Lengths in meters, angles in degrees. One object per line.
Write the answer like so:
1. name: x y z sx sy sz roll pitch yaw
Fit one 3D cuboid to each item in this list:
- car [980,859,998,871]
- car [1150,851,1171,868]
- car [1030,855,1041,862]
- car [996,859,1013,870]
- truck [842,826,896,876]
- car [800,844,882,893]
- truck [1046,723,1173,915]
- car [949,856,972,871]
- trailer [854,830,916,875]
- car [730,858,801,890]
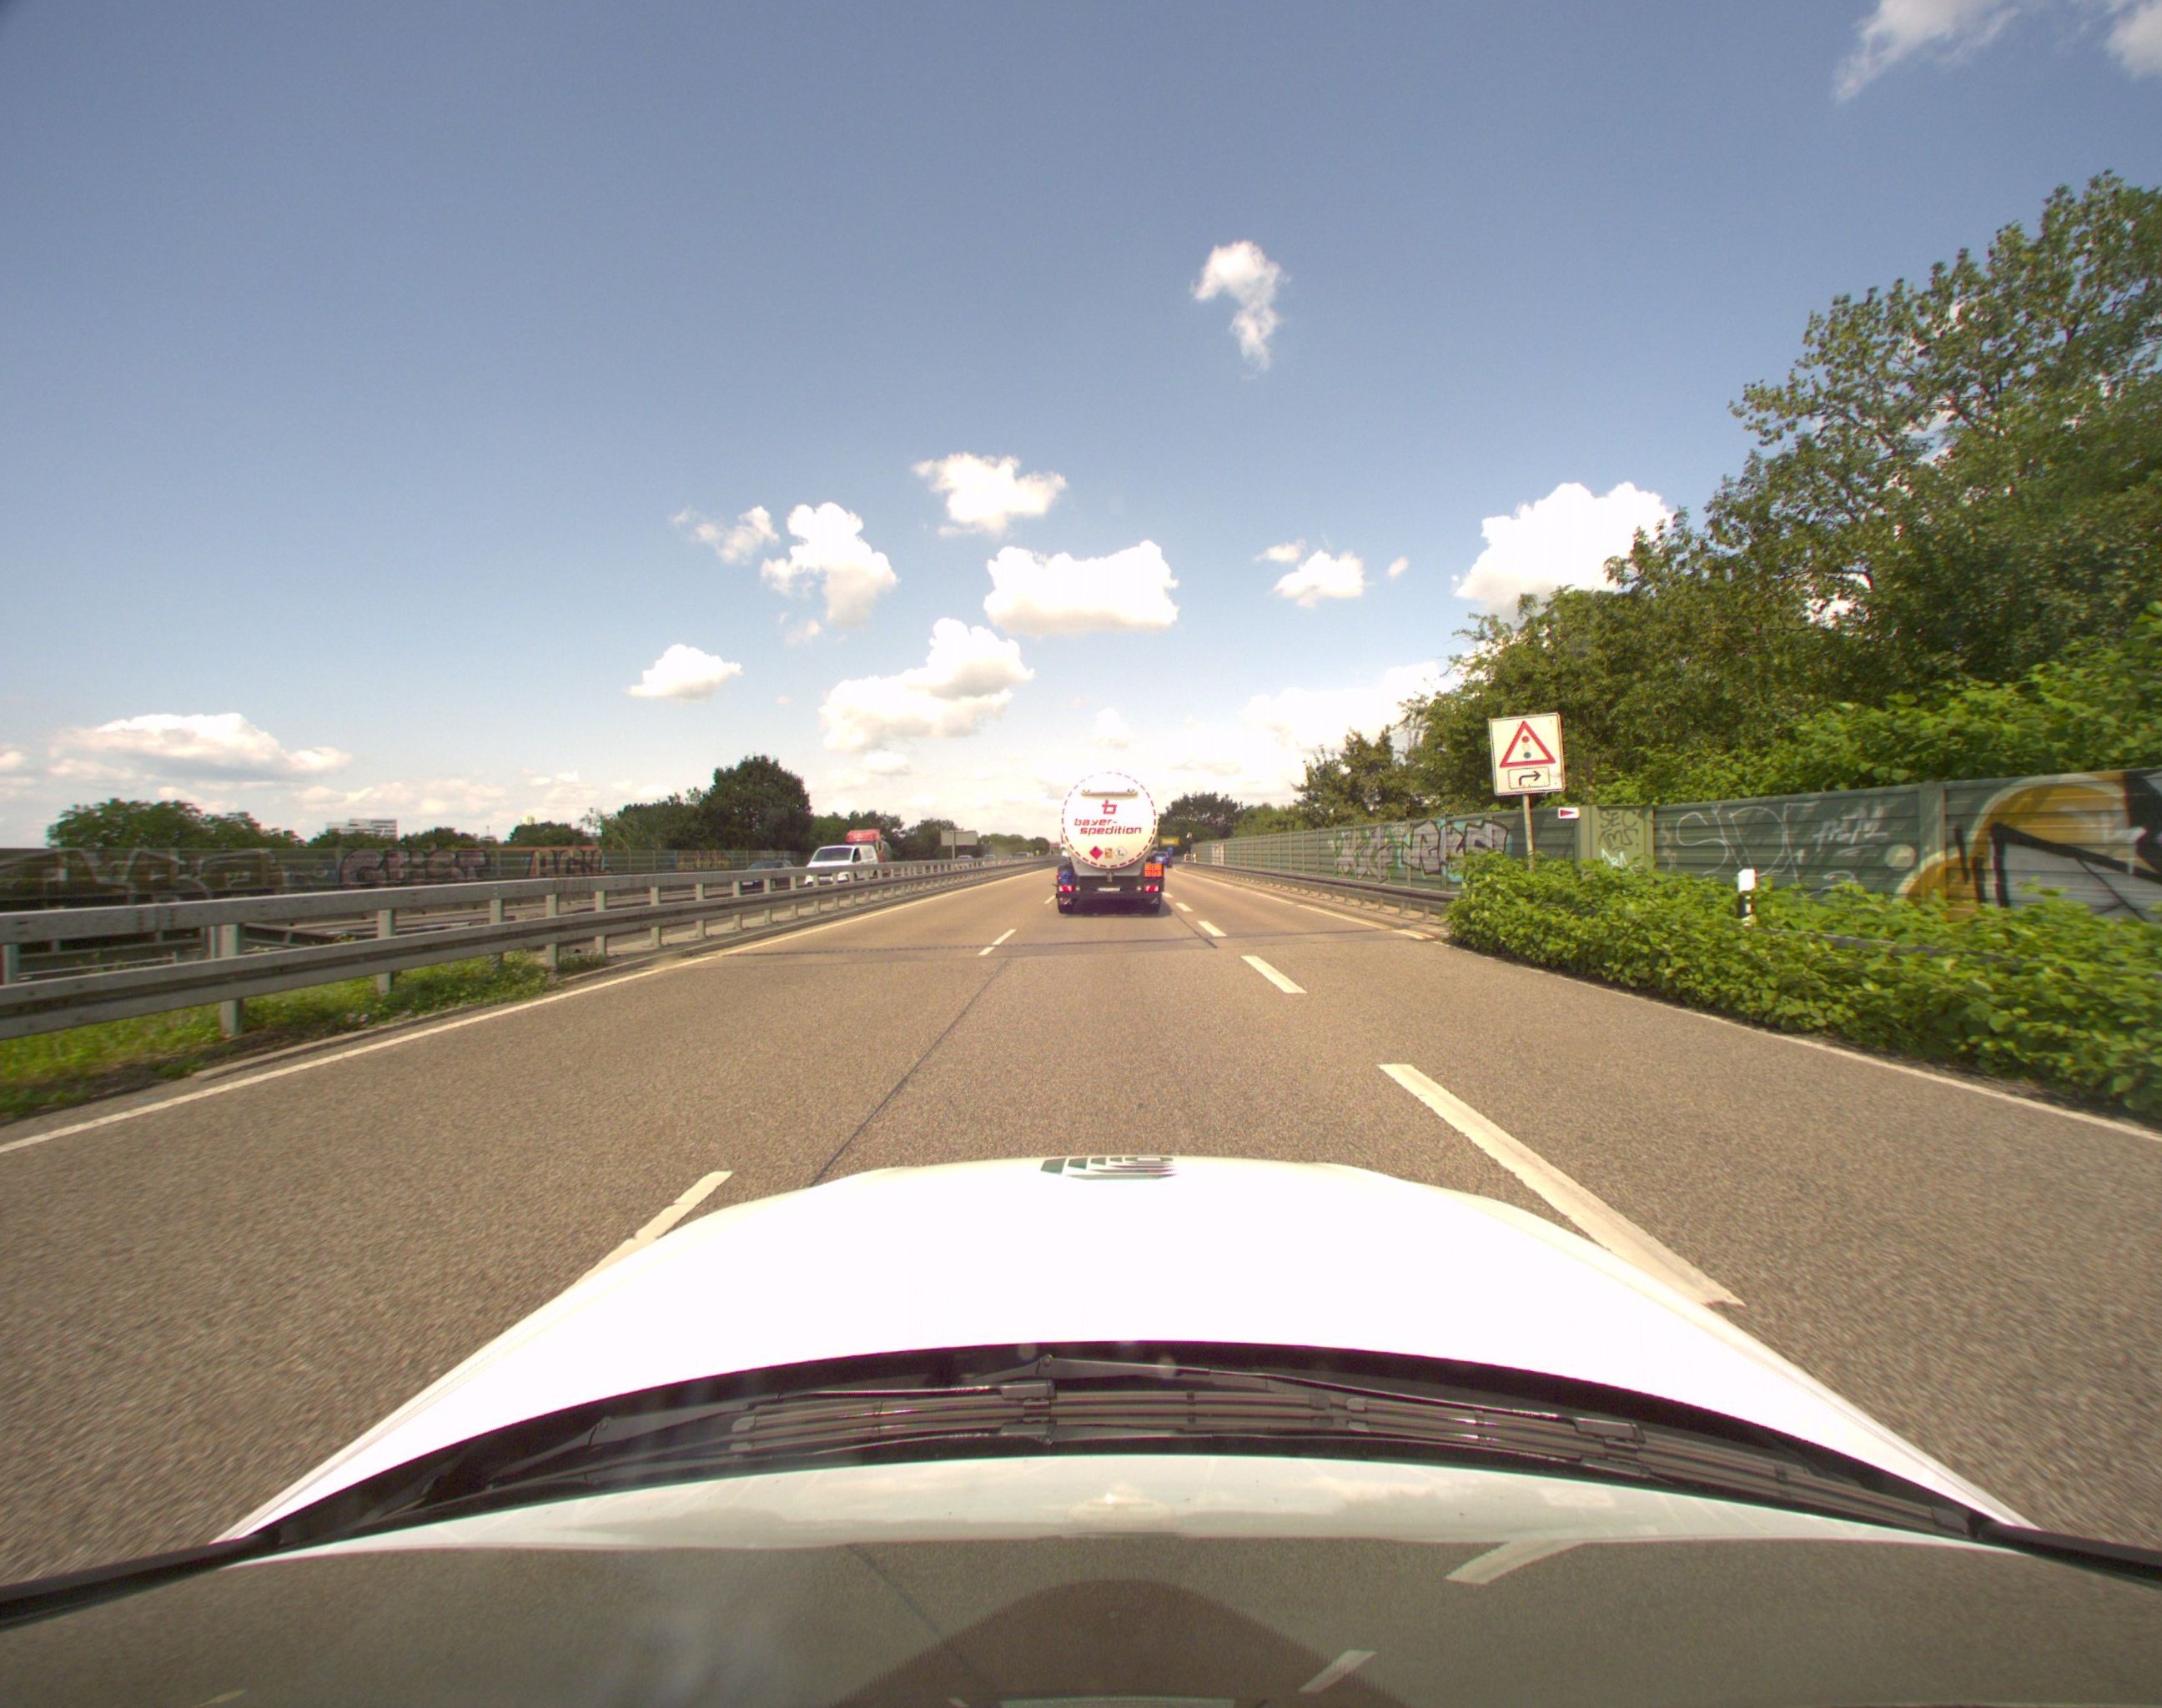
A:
1. car: -11.960 1.444 106.058 1.917 1.574 3.887 0 0 1
2. car: 8.057 0.556 82.221 1.982 1.706 4.009 0 0 8
3. car: -9.834 0.968 176.131 1.917 1.574 3.887 -2 0 1
4. car: -11.166 1.526 118.812 1.917 1.574 4.245 -2 0 1
5. truck: -16.973 -0.224 65.645 2.640 3.782 6.231 0 0 0
6. car: -10.416 0.596 35.757 2.073 1.989 5.227 0 0 -1
7. truck: 0.763 -0.786 22.611 2.884 4.369 8.032 0 0 2
8. car: -12.676 1.022 85.775 1.776 1.509 3.961 0 0 2
9. trailer: -16.997 -0.082 71.638 2.675 3.670 11.028 0 0 0
10. car: -14.940 0.916 38.767 1.683 1.431 4.401 0 0 -1
